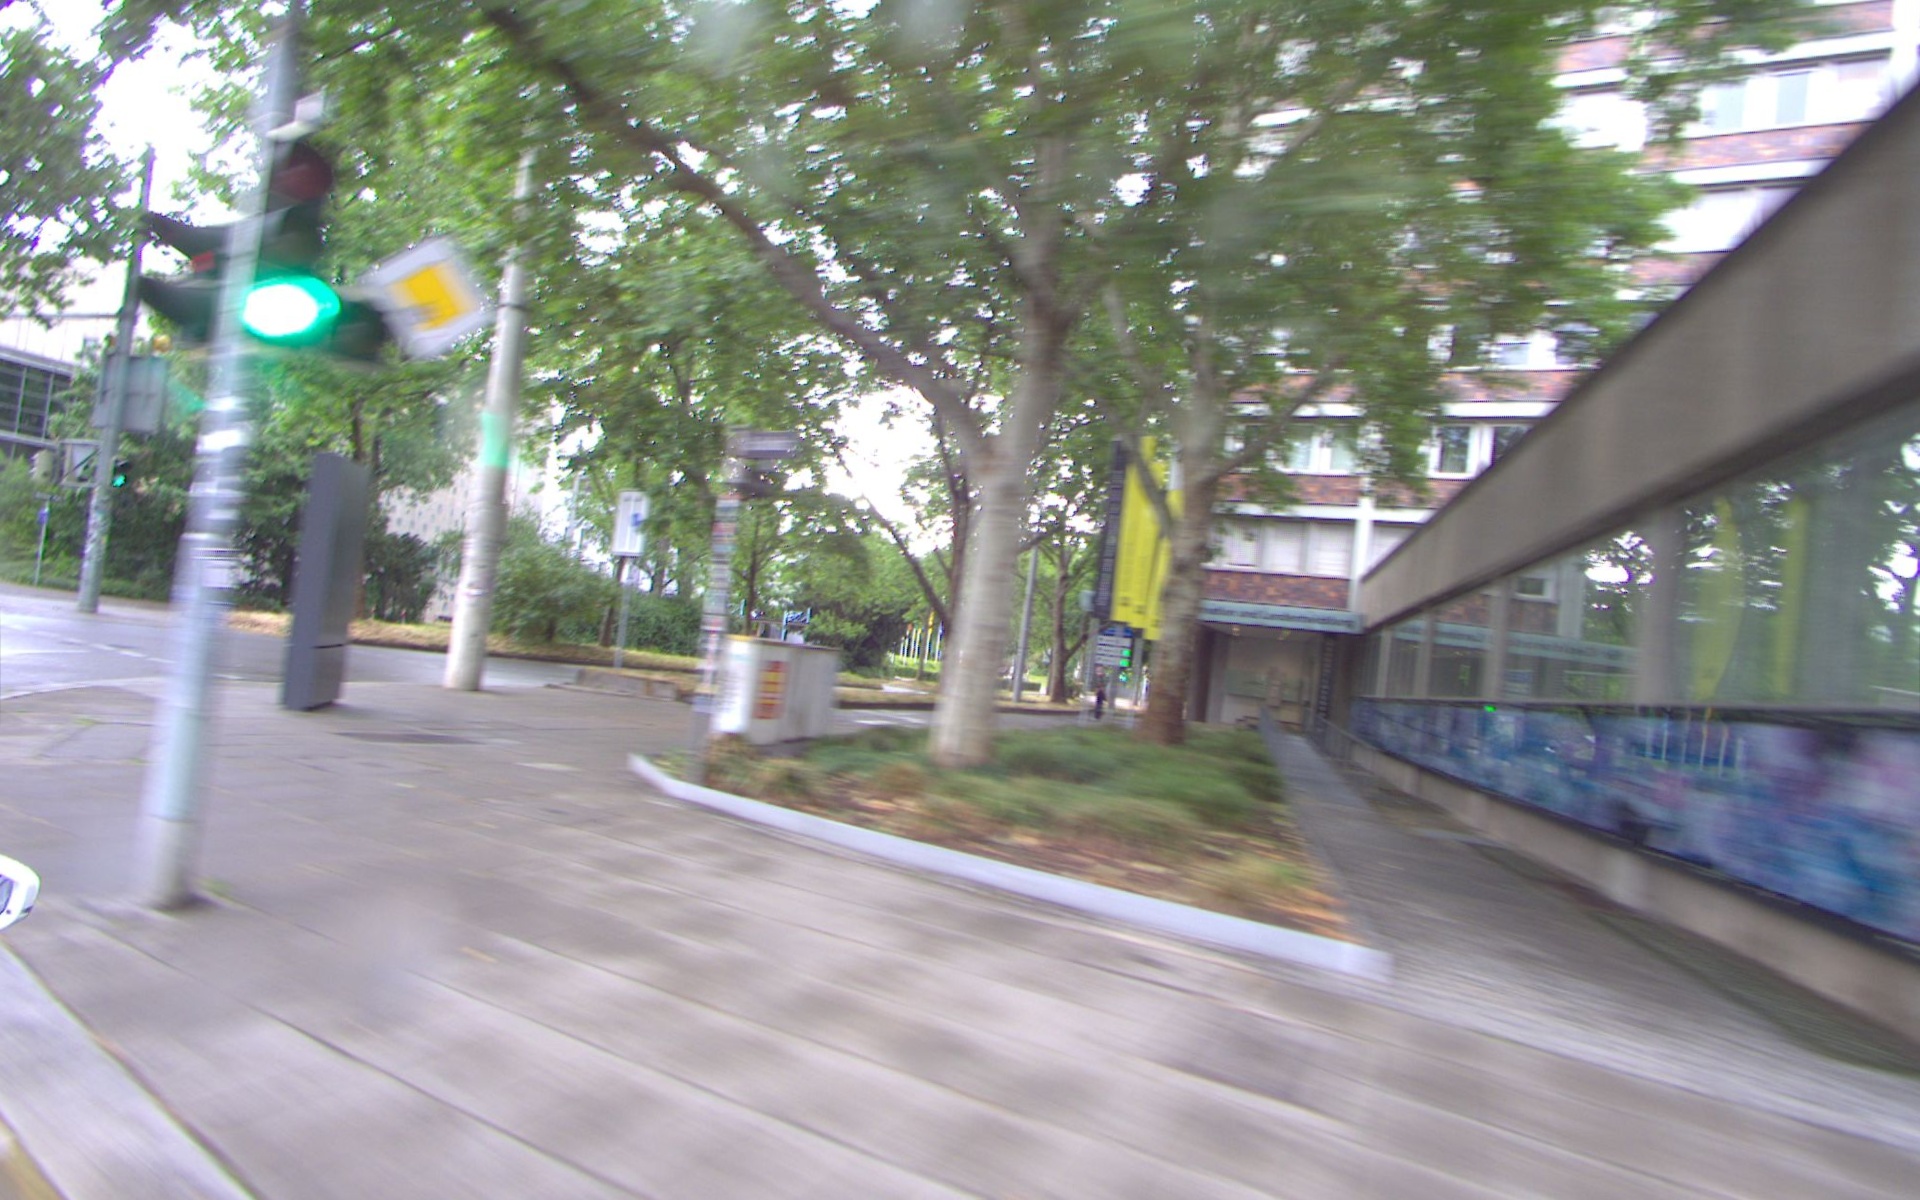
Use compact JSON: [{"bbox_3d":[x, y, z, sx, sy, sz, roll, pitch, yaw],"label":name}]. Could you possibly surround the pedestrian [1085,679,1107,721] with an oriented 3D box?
[{"bbox_3d":[5.641,4.152,41.785,0.512,1.656,0.936,7,-3,21],"label":"pedestrian"}]
